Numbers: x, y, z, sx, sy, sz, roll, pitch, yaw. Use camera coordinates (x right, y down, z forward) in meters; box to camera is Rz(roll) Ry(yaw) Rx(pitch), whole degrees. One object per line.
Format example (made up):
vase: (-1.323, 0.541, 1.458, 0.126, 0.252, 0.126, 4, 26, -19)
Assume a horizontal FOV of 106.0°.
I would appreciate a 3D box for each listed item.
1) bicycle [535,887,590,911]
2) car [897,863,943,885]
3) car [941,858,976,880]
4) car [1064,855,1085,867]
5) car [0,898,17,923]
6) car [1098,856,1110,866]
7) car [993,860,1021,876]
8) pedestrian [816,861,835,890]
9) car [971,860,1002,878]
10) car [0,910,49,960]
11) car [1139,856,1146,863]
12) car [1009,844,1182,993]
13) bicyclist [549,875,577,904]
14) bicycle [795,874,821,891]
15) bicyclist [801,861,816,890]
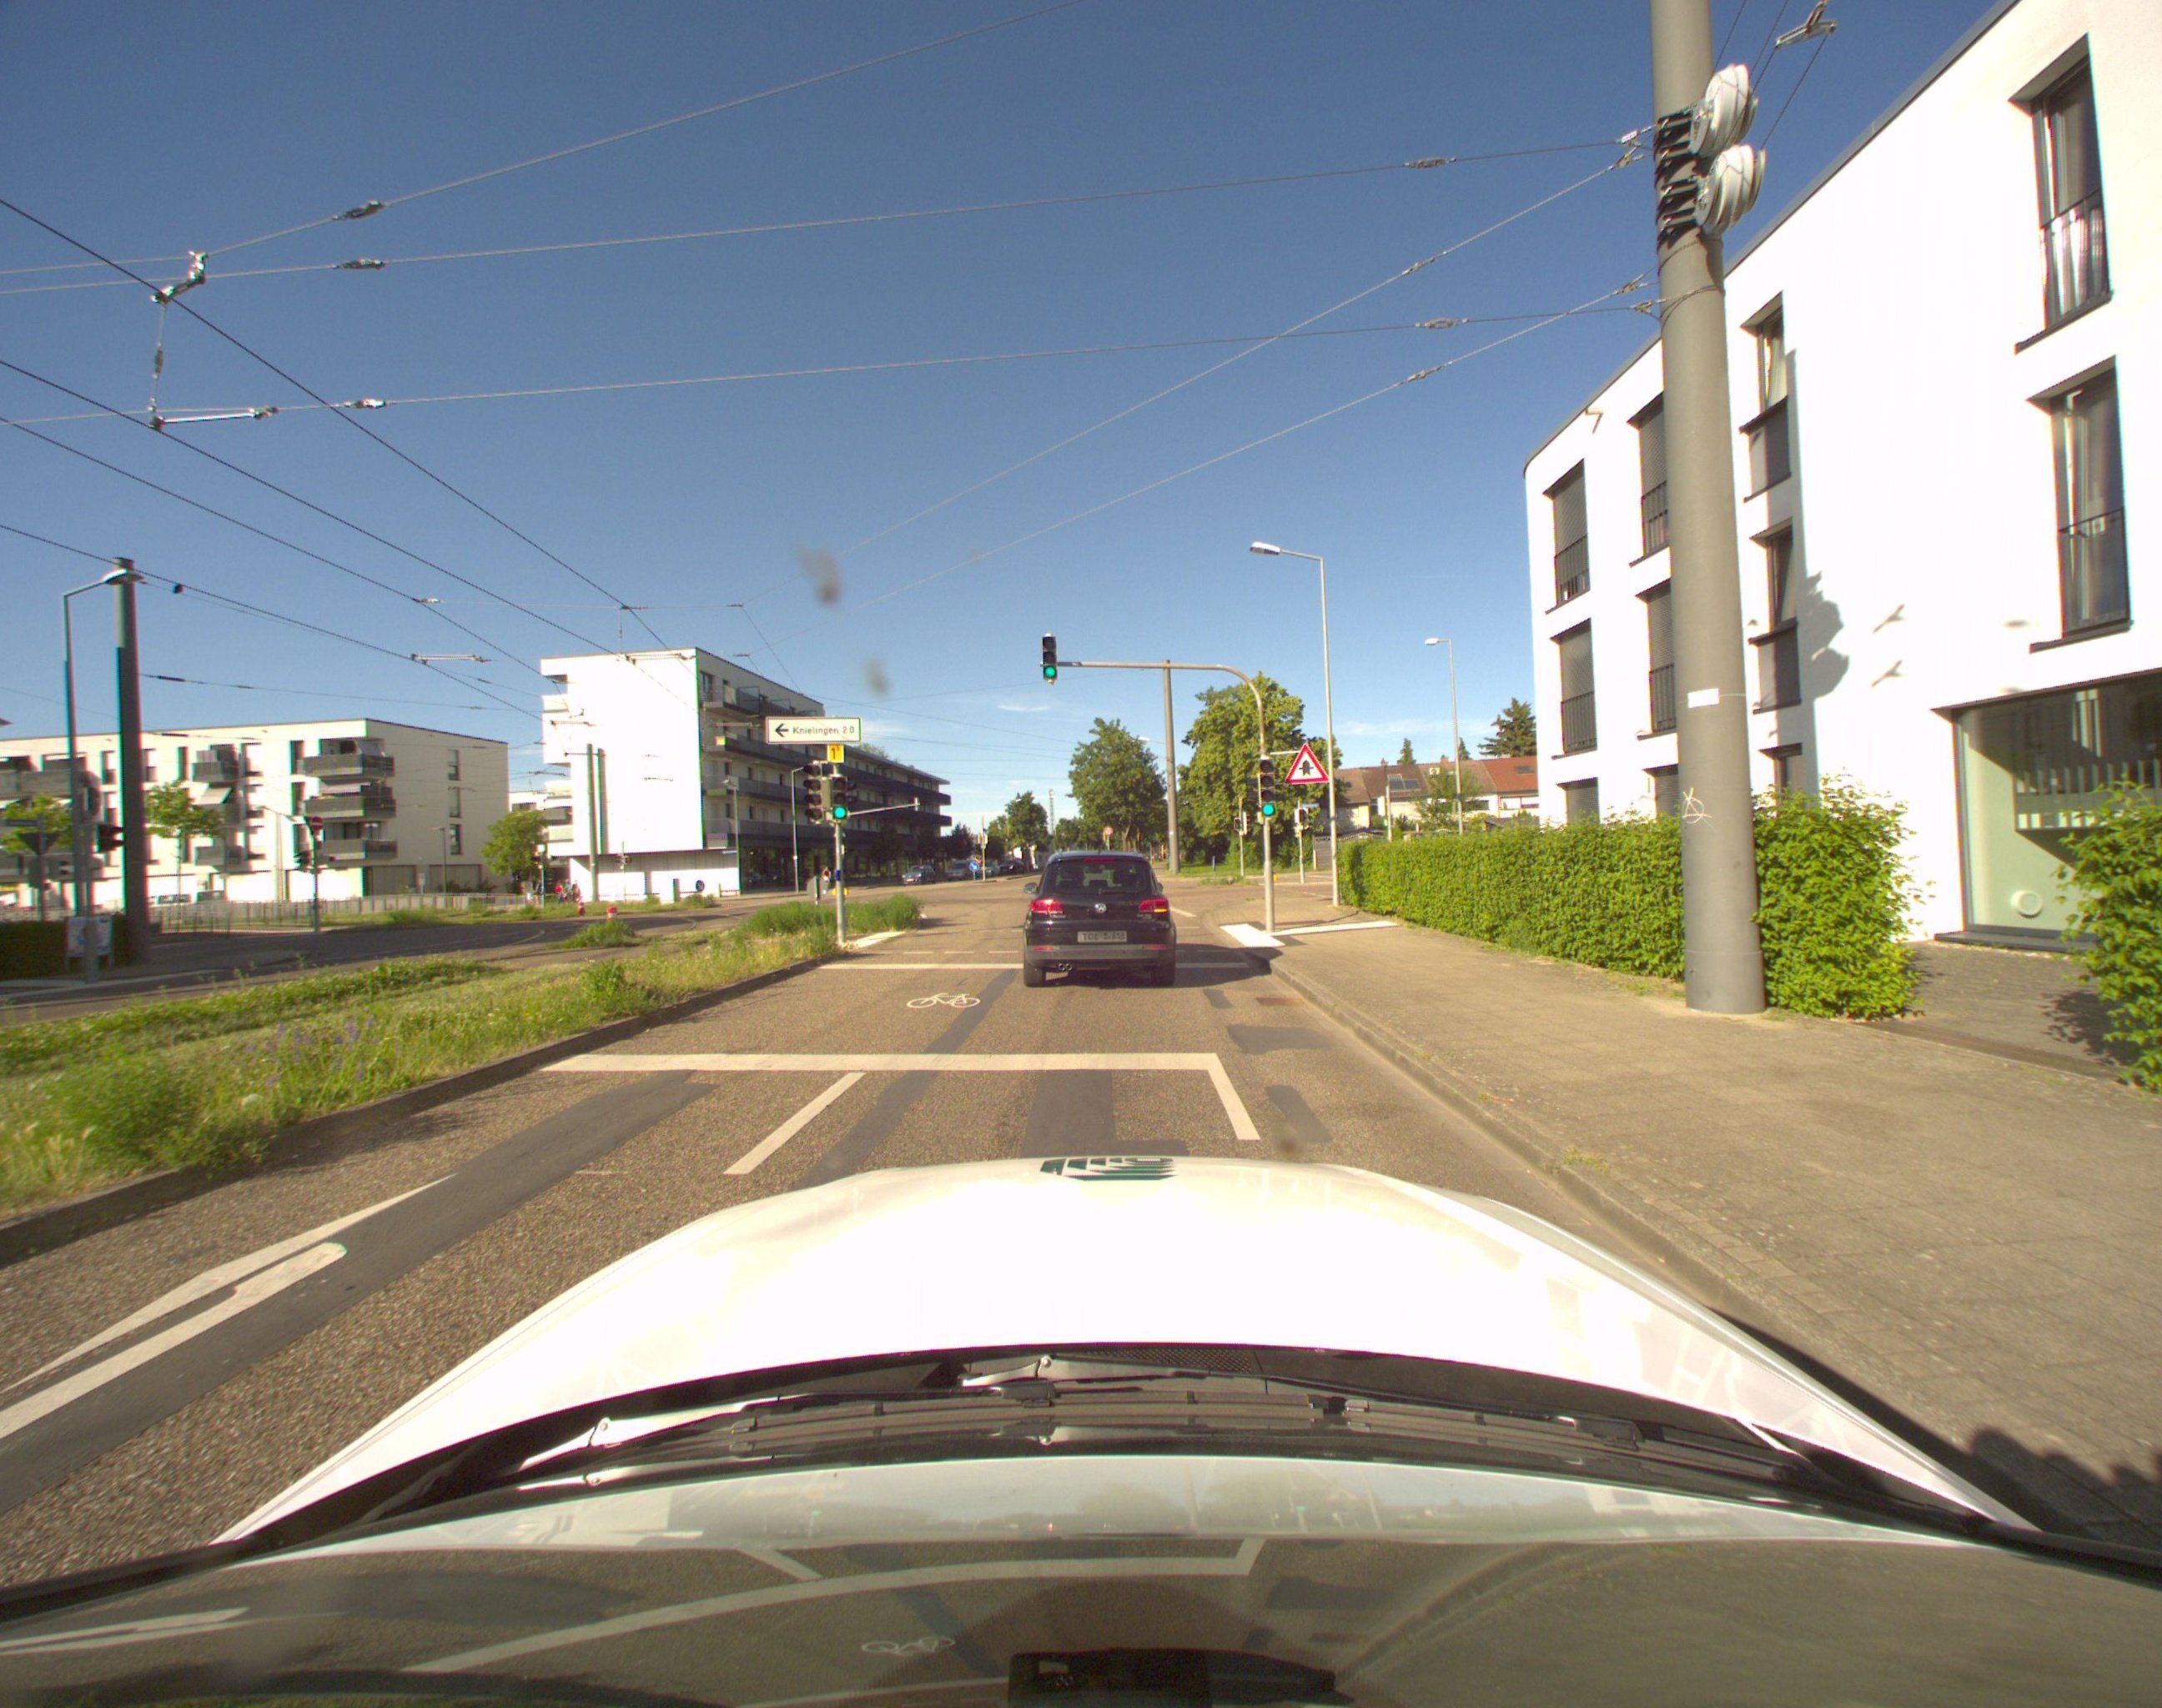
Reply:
bicycle: (-29.715, 2.565, 46.741, 0.895, 1.198, 2.835, -3, 0, 12)
car: (-12.017, 1.452, 61.054, 1.684, 1.456, 4.467, -3, 0, 11)
car: (-10.642, 1.272, 71.130, 1.985, 1.755, 4.366, -3, 0, 4)
car: (-0.893, 0.971, 113.078, 1.981, 1.571, 4.012, -3, 0, 11)
car: (-73.338, 3.772, 53.705, 3.967, 1.553, 2.003, -1, 0, 5)
car: (4.462, 1.378, 159.295, 1.984, 1.737, 5.207, -3, 0, 5)
car: (-7.688, 1.403, 85.291, 1.957, 1.534, 4.747, -3, 0, 5)
pedestrian: (-17.897, 1.499, 57.111, 0.974, 2.013, 0.760, -3, -1, 1)
car: (-9.065, 1.390, 78.245, 1.981, 1.487, 3.553, -5, 0, 10)
car: (-40.334, 3.016, 29.260, 3.970, 1.665, 2.011, -3, 0, 3)
car: (17.268, 1.527, 228.516, 1.884, 1.758, 4.010, -1, 0, 9)
car: (0.239, 0.736, 11.384, 1.922, 1.654, 4.516, -1, 0, 2)
bicyclist: (-29.738, 2.029, 46.764, 0.886, 1.592, 0.916, -3, -1, 11)
bicycle: (-19.699, 2.031, 58.727, 1.647, 1.144, 0.738, -3, 0, -27)
bicyclist: (-19.673, 1.560, 58.749, 0.797, 2.013, 0.804, -3, -1, -28)
